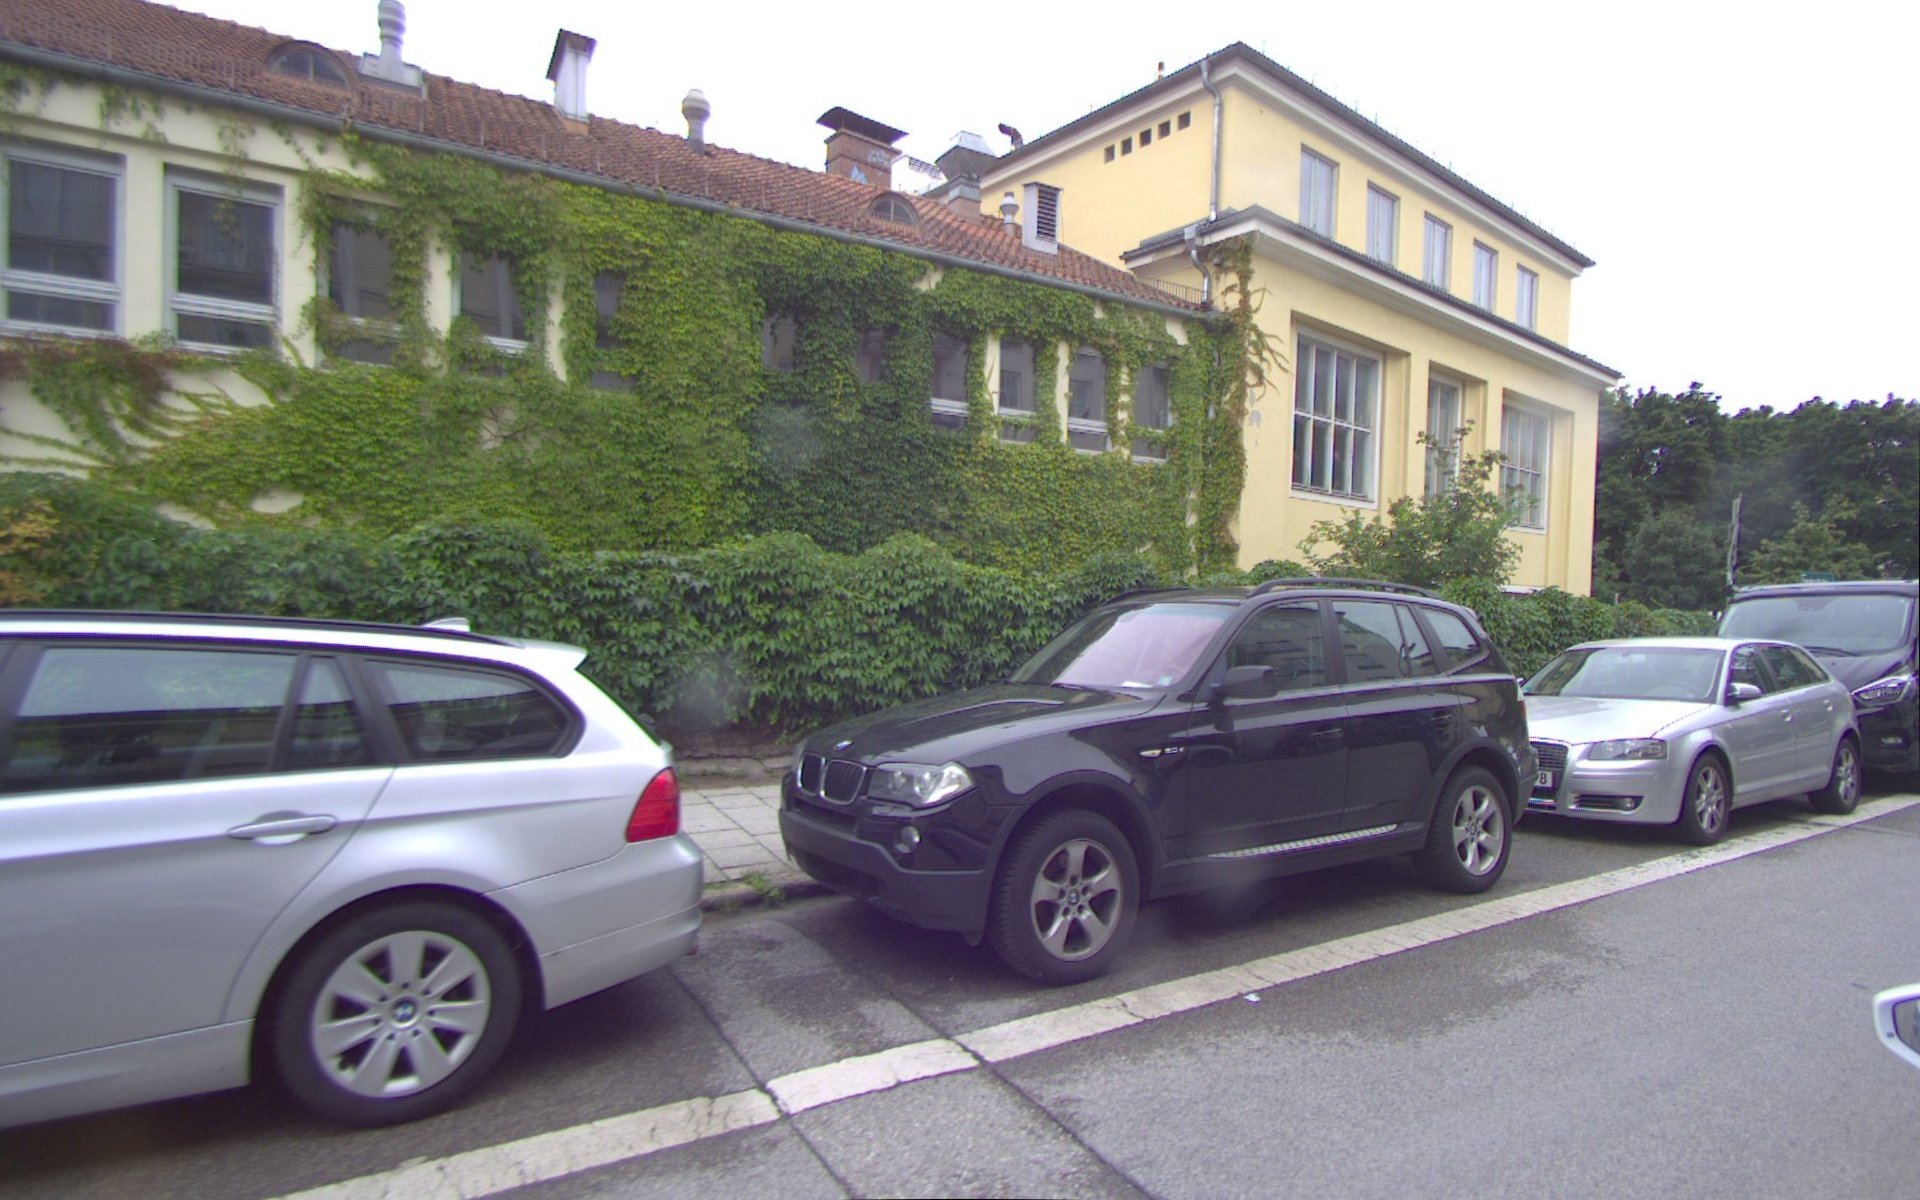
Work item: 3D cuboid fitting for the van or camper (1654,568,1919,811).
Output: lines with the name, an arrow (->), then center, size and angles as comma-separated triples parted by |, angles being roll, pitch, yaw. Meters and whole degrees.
van or camper -> 9.555, 0.852, 10.843 | 4.707, 2.092, 1.948 | 2, -2, -36

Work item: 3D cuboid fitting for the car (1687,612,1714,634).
car -> 92.041, 2.867, 124.856 | 1.847, 2.602, 4.926 | 2, 0, 27

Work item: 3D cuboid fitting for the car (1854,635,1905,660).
car -> 68.156, 3.492, 74.498 | 1.836, 1.655, 4.276 | 1, -1, 30

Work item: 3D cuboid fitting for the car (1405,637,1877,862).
car -> 5.513, 1.018, 8.013 | 4.026, 1.396, 1.611 | 2, -3, -32

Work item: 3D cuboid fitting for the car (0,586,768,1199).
car -> -2.942, 0.729, 2.963 | 4.373, 1.441, 1.693 | 2, -4, -31

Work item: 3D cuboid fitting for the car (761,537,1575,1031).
car -> 1.311, 0.711, 5.415 | 4.375, 1.753, 1.611 | 2, -1, -32
